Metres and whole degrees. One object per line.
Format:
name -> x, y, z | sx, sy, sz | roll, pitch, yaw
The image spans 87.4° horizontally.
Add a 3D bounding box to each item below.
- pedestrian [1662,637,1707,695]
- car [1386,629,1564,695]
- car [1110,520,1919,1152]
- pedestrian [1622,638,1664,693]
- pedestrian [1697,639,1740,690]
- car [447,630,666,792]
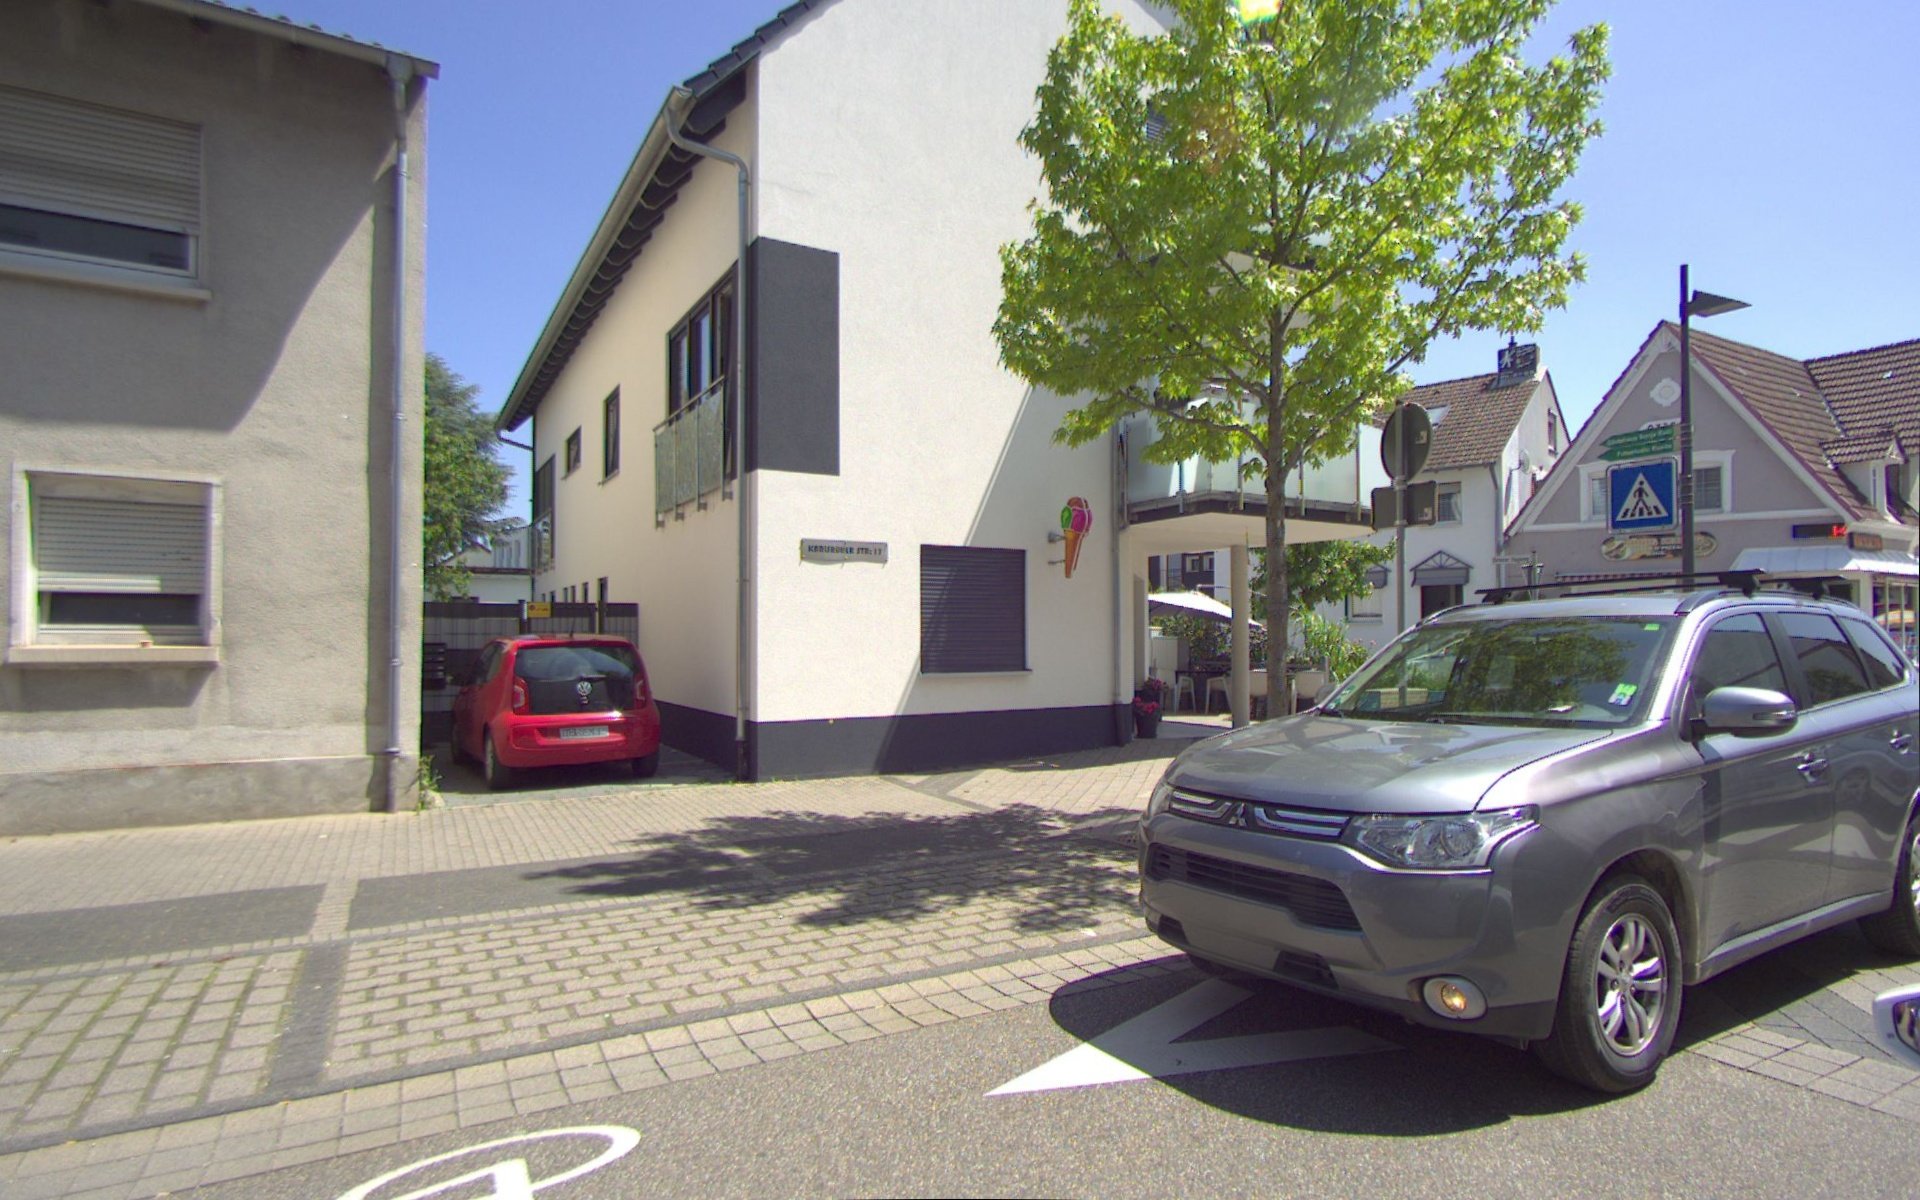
pedestrian -> 17.287, 1.567, 23.988 | 0.623, 1.306, 0.789 | 2, 0, 17
car -> 13.396, 1.566, 26.267 | 3.876, 1.566, 1.508 | -2, -1, 44
car -> 2.839, 0.709, 4.578 | 4.183, 1.738, 1.667 | 1, -2, -31
pedestrian -> 16.948, 1.610, 24.935 | 0.623, 1.306, 0.789 | 2, 0, 17
pedestrian -> 18.287, 1.543, 24.210 | 0.689, 1.194, 0.618 | 1, -2, -34
car -> -4.446, 1.065, 10.845 | 1.571, 1.462, 3.095 | 1, -2, -34
